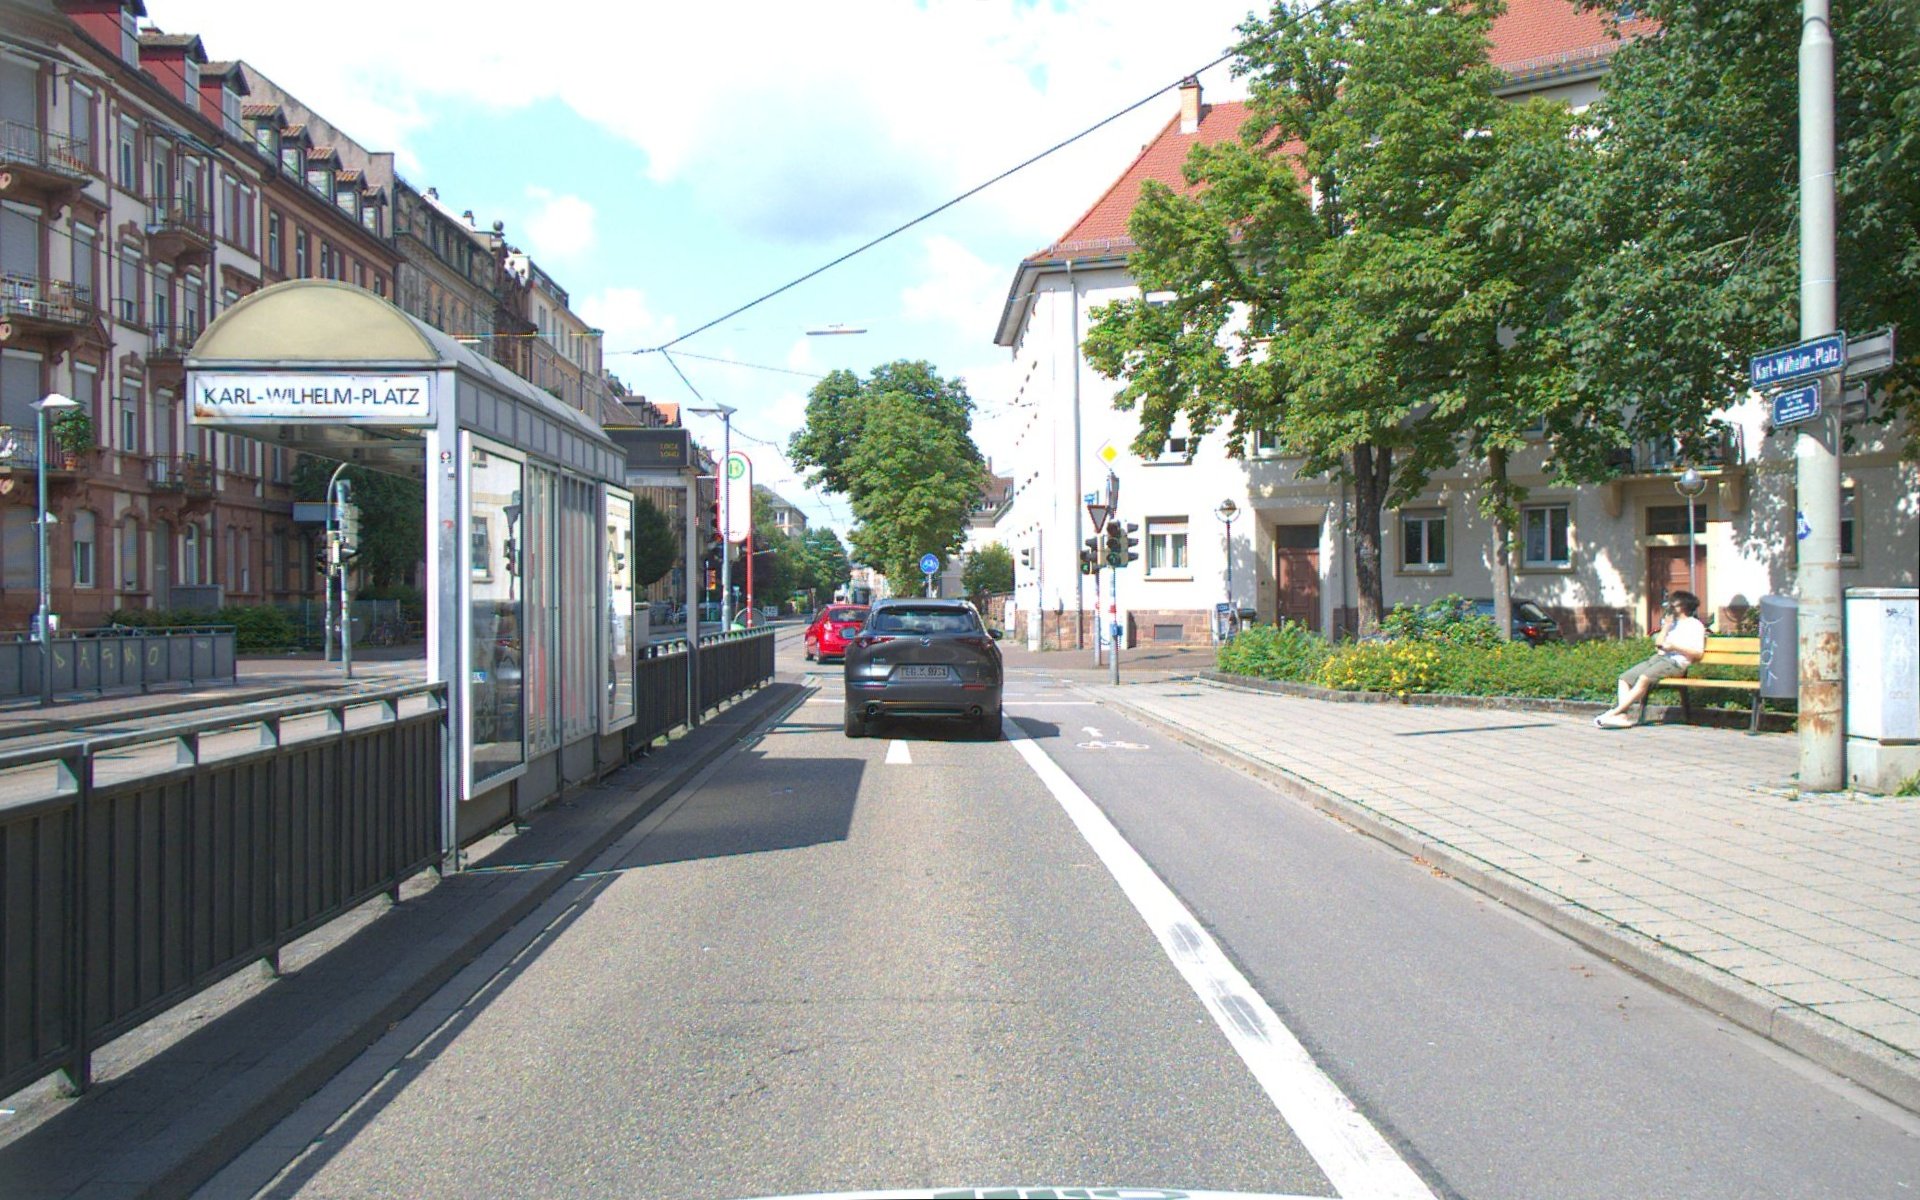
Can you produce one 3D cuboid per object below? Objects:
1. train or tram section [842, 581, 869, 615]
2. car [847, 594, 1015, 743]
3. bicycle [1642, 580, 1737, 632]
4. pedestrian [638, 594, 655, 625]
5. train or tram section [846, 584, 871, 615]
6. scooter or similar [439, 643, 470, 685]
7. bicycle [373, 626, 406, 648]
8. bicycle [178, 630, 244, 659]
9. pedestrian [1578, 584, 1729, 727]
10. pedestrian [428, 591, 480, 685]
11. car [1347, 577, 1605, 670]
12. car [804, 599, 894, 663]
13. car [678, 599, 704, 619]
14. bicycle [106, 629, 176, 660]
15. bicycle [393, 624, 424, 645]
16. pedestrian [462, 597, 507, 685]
[{"bbox_3d":[-13.228,-0.227,210.217,2.937,4.053,13.802,-1,-1,-2],"label":"train or tram section"},{"bbox_3d":[-0.437,0.729,19.518,1.747,1.540,3.997,1,0,-4],"label":"car"},{"bbox_3d":[15.164,0.131,34.407,0.561,1.037,1.729,-3,1,-38],"label":"bicycle"},{"bbox_3d":[-17.569,0.517,92.697,0.771,1.718,0.732,-1,0,0],"label":"pedestrian"},{"bbox_3d":[-13.700,-0.019,223.911,2.937,4.053,13.802,-1,-1,-2],"label":"train or tram section"},{"bbox_3d":[-9.164,1.163,29.984,0.405,0.733,0.486,-1,0,-3],"label":"scooter or similar"},{"bbox_3d":[-18.566,1.208,53.849,0.377,0.664,1.712,-1,0,3],"label":"bicycle"},{"bbox_3d":[-20.555,1.217,45.431,0.378,0.760,1.706,-1,0,34],"label":"bicycle"},{"bbox_3d":[6.696,0.525,15.995,1.169,1.291,0.557,-3,0,-7],"label":"pedestrian"},{"bbox_3d":[-9.348,0.689,30.586,0.755,1.704,0.667,-1,0,-3],"label":"pedestrian"},{"bbox_3d":[9.348,0.400,30.125,4.095,1.536,1.842,-1,1,41],"label":"car"},{"bbox_3d":[-2.816,0.740,41.344,1.744,1.489,3.831,1,0,-11],"label":"car"},{"bbox_3d":[-21.855,0.722,134.621,1.623,1.624,3.928,-1,0,-2],"label":"car"},{"bbox_3d":[-21.647,1.181,43.758,0.378,0.760,1.706,-1,0,34],"label":"bicycle"},{"bbox_3d":[-18.687,1.164,56.053,0.377,0.689,1.712,-1,0,3],"label":"bicycle"},{"bbox_3d":[-8.632,0.744,30.053,0.654,1.573,0.580,-1,0,-3],"label":"pedestrian"}]
